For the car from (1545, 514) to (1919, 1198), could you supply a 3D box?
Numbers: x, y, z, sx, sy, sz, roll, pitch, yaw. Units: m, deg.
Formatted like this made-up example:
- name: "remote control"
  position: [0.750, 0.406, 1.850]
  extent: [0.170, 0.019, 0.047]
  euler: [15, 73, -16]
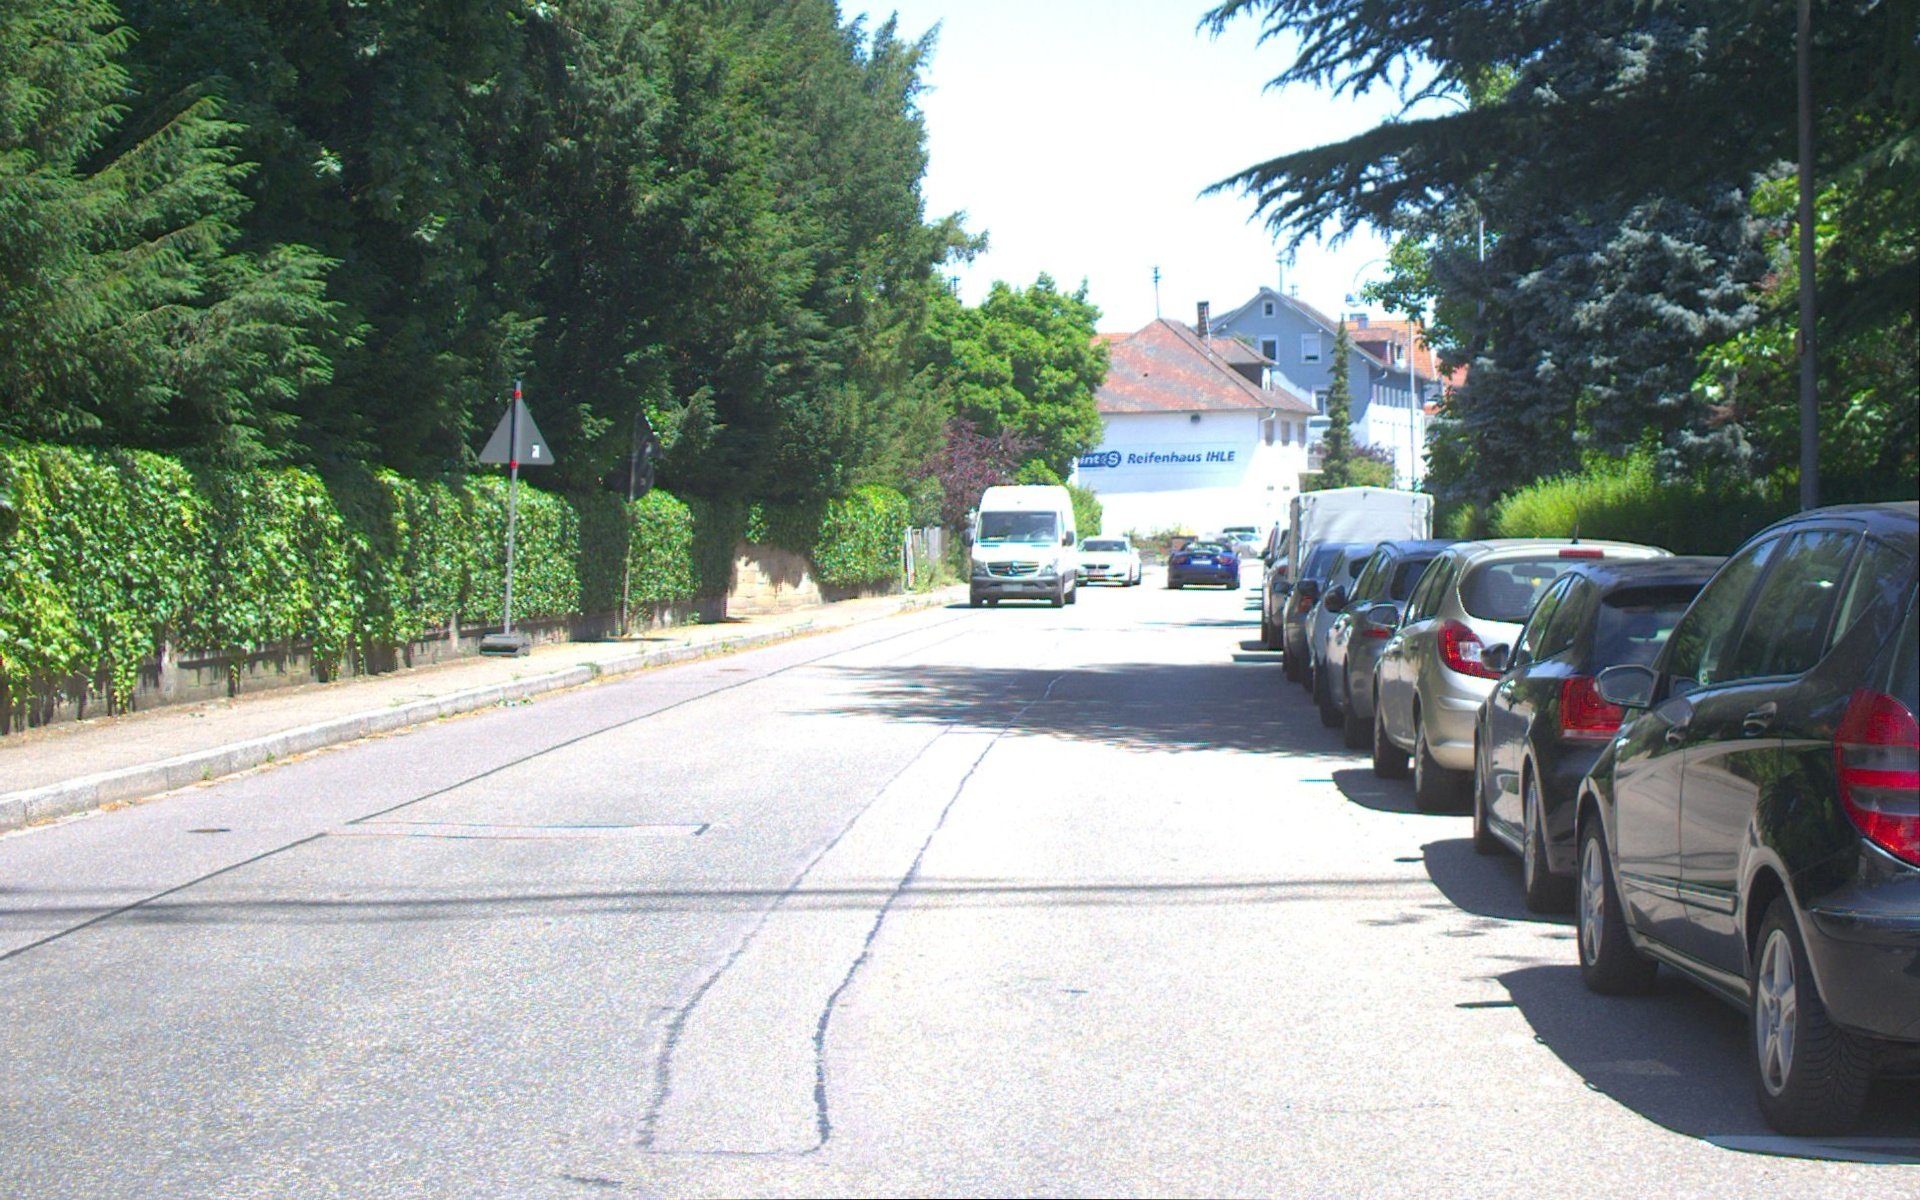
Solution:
- name: "car"
  position: [2.779, 0.547, 9.902]
  extent: [1.581, 1.570, 4.008]
  euler: [0, 1, 1]

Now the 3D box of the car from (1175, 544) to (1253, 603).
- name: "car"
  position: [6.982, -0.741, 94.171]
  extent: [1.795, 1.505, 3.999]
  euler: [2, 1, 8]

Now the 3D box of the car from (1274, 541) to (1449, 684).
- name: "car"
  position: [4.189, 0.102, 36.370]
  extent: [1.615, 1.391, 4.258]
  euler: [1, 1, 4]

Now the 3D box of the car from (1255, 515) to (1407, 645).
- name: "car"
  position: [4.978, -0.310, 46.592]
  extent: [1.772, 1.626, 4.604]
  euler: [1, 2, 3]

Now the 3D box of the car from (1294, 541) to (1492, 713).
- name: "car"
  position: [3.948, 0.195, 31.829]
  extent: [1.615, 1.464, 4.064]
  euler: [0, 1, 4]

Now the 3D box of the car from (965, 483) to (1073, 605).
- name: "car"
  position: [1.325, -1.198, 74.295]
  extent: [1.994, 2.524, 5.893]
  euler: [1, 1, 4]

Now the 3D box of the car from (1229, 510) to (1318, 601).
- name: "car"
  position: [6.464, -0.927, 70.897]
  extent: [1.746, 1.776, 4.542]
  euler: [1, 1, 5]

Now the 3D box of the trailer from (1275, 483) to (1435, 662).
- name: "trailer"
  position: [4.779, -0.372, 41.980]
  extent: [1.680, 2.061, 3.708]
  euler: [1, 2, 3]

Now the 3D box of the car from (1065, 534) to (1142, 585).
- name: "car"
  position: [4.162, -1.193, 98.949]
  extent: [1.865, 1.379, 4.603]
  euler: [0, 2, 7]

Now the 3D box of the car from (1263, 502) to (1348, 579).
- name: "car"
  position: [8.144, -1.397, 80.878]
  extent: [1.903, 1.722, 4.390]
  euler: [2, 1, 6]

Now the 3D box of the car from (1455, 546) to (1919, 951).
- name: "car"
  position: [3.099, 0.532, 14.901]
  extent: [1.582, 1.438, 4.007]
  euler: [3, 1, 5]

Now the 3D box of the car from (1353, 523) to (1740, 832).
- name: "car"
  position: [3.283, 0.357, 19.931]
  extent: [1.614, 1.507, 4.064]
  euler: [2, 2, 2]

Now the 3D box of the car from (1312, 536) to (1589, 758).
- name: "car"
  position: [3.514, 0.280, 25.255]
  extent: [1.615, 1.446, 4.374]
  euler: [2, 1, 3]
